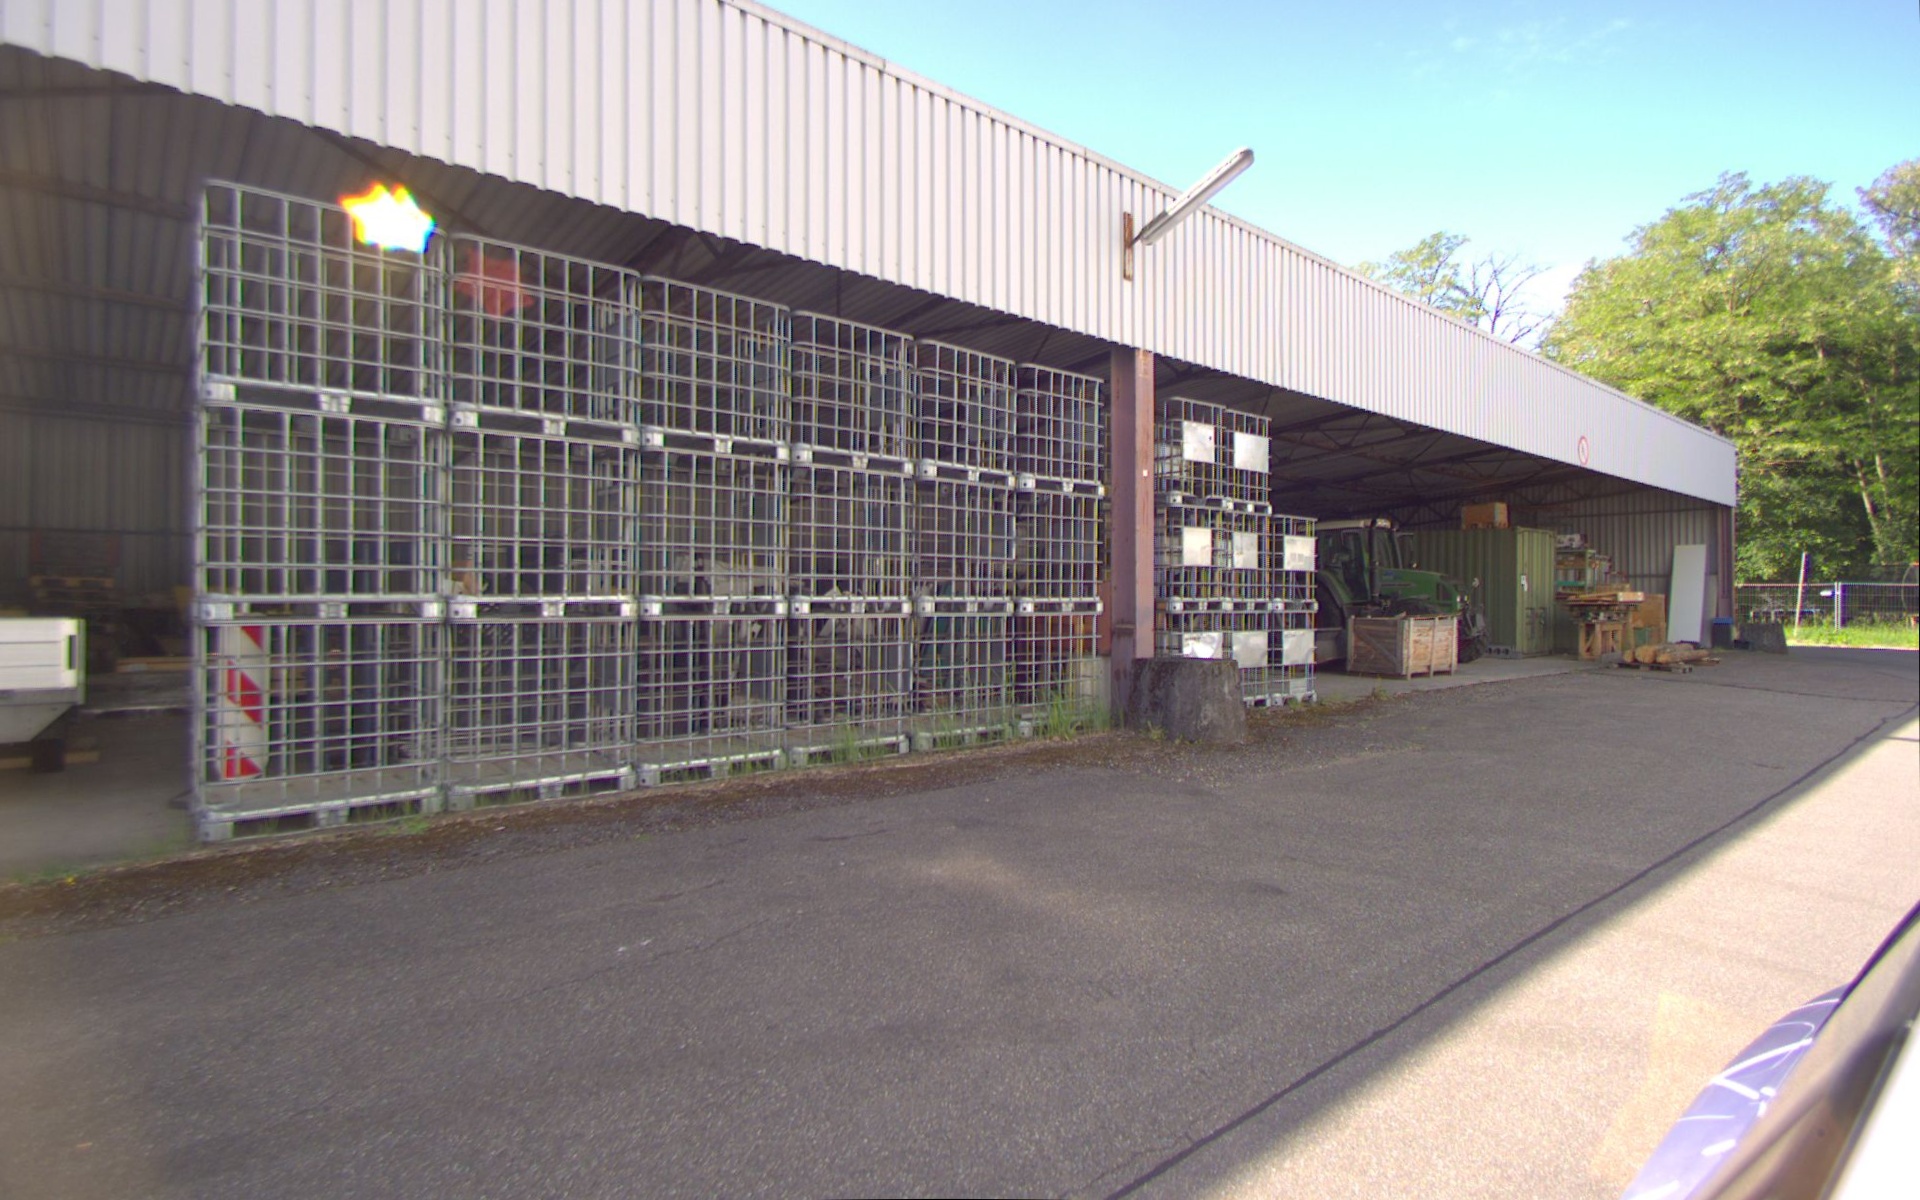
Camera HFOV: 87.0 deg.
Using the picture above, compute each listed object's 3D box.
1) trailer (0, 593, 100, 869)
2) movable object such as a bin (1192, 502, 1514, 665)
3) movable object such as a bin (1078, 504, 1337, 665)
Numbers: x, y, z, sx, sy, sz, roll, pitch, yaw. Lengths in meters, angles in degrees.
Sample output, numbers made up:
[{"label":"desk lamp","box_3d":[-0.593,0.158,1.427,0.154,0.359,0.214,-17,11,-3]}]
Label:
[{"label":"trailer","box_3d":[-6.883,0.616,6.504,1.941,1.200,5.737,-1,2,-42]},{"label":"movable object such as a bin","box_3d":[8.176,-0.333,21.601,2.770,2.962,5.845,0,0,-40]},{"label":"movable object such as a bin","box_3d":[4.894,-0.291,20.497,2.453,2.866,4.535,1,0,-40]}]
